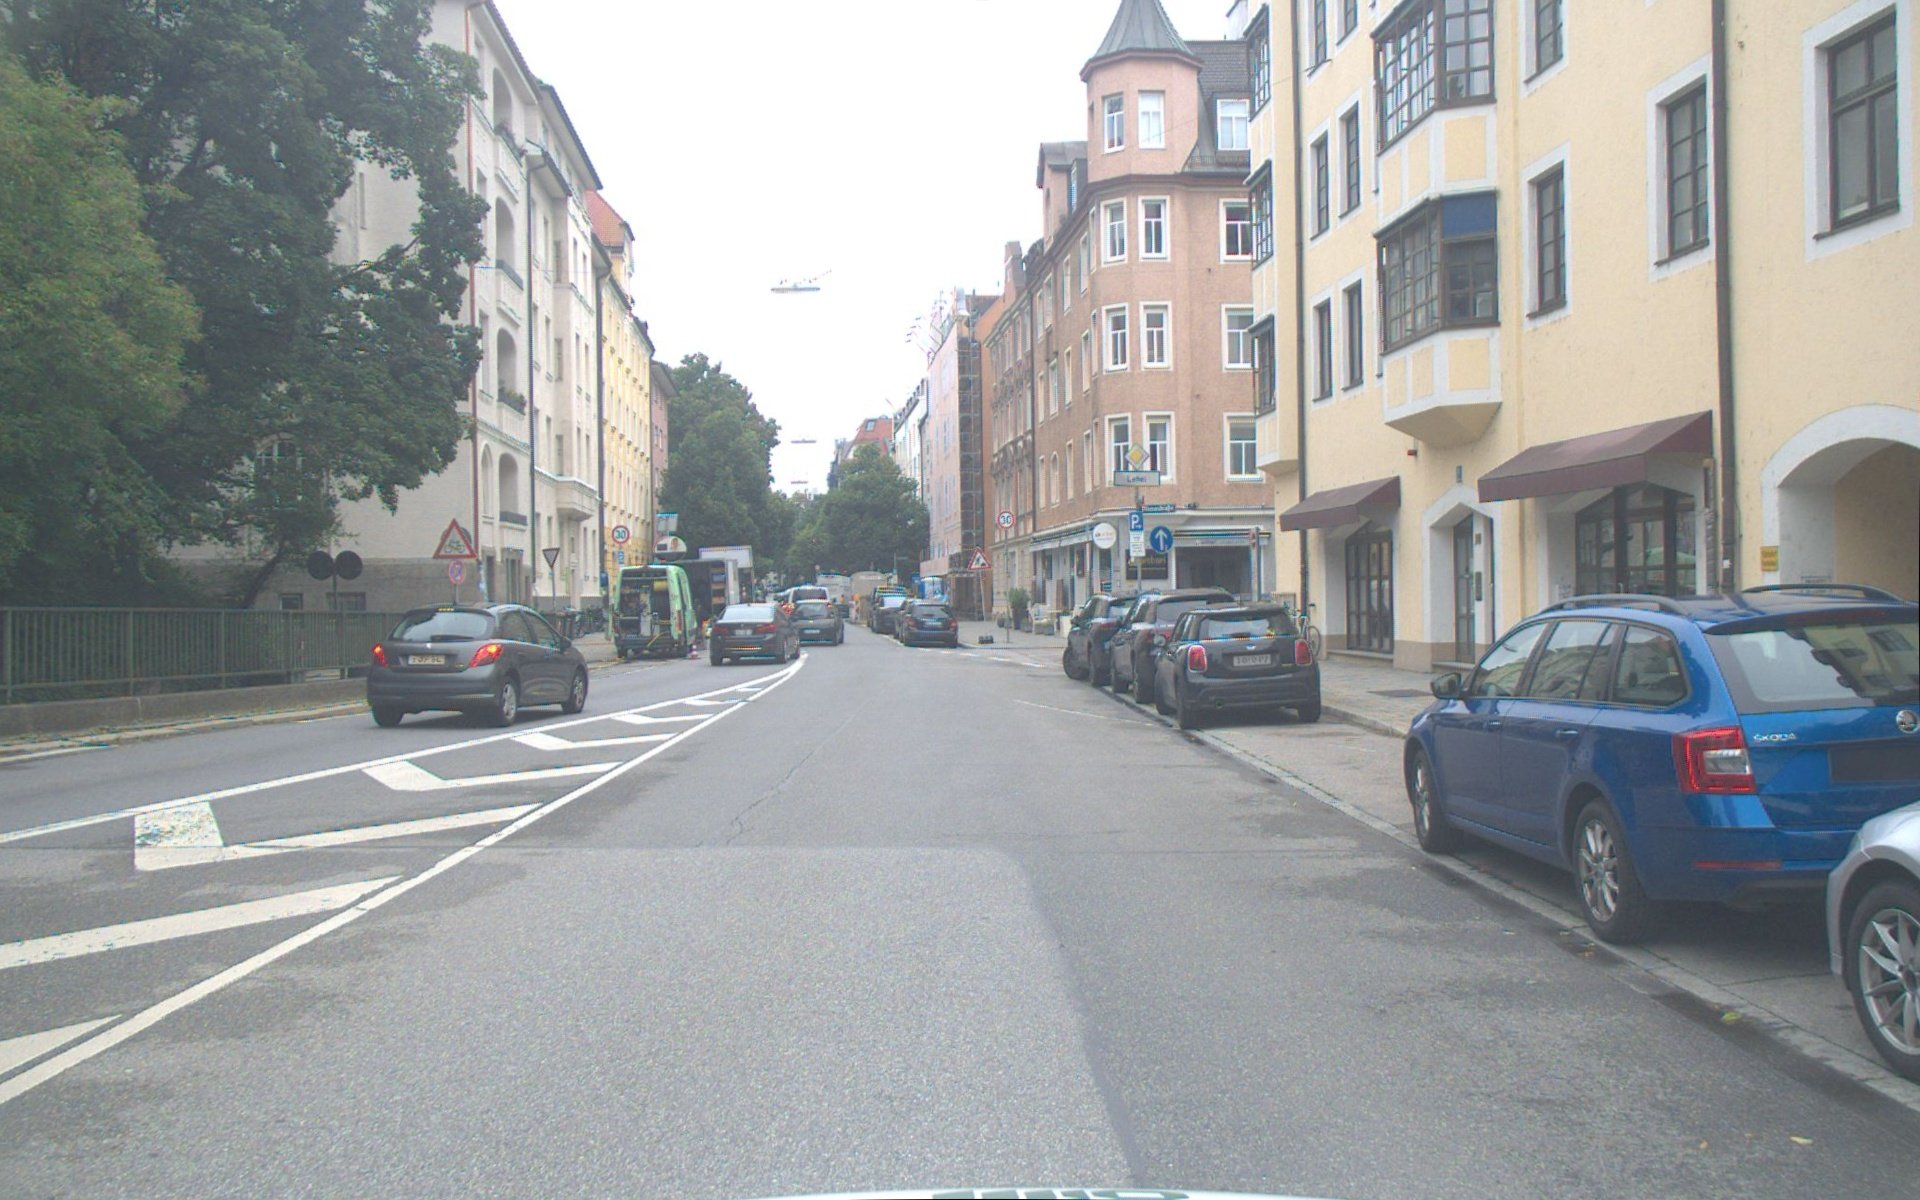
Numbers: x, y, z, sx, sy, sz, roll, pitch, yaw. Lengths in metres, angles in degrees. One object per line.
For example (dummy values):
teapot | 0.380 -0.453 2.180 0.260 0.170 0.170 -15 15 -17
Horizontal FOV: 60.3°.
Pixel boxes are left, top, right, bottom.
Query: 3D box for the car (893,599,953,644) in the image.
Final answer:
car | -1.378 0.753 60.299 1.809 1.454 4.135 2 1 -6

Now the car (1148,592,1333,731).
car | 3.448 0.698 20.953 1.720 1.522 3.823 -2 0 1

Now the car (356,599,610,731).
car | -6.005 0.761 21.331 1.721 1.486 4.077 -1 0 6

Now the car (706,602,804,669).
car | -5.072 0.835 41.482 1.950 1.454 4.904 -1 1 -2

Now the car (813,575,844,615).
car | -8.480 -0.311 107.162 1.901 2.523 4.779 0 0 -4

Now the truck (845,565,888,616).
truck | -5.826 -0.580 102.344 2.443 3.025 5.321 0 0 -6

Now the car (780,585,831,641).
car | -6.261 0.500 67.337 1.951 2.111 4.137 -1 1 -5

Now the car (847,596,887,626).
car | -4.886 0.546 86.207 1.951 1.454 4.137 -1 1 -5

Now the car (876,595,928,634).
car | -2.441 0.573 68.748 1.809 1.454 4.301 2 1 -6

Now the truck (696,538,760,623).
truck | -11.425 -0.925 81.944 2.955 4.021 6.985 0 0 -7

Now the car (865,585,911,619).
car | -3.348 0.064 76.449 1.951 1.454 4.137 -1 1 -5

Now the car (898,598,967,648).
car | -0.932 0.713 53.950 1.809 1.454 4.178 2 1 -6

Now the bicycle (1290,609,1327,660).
bicycle | 7.118 0.690 33.833 0.265 0.994 1.683 0 0 -4

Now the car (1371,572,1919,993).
car | 3.584 0.668 8.453 1.721 1.522 4.486 -2 0 -1

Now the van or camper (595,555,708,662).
van or camper | -8.944 0.172 48.543 2.549 2.889 6.180 -1 1 -5

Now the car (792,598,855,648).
car | -4.434 0.721 54.006 1.951 1.454 4.137 -1 1 -5

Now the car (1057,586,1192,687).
car | 3.037 0.635 31.447 1.783 1.708 4.507 -2 0 -4

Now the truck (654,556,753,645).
truck | -9.035 -0.058 59.020 2.718 2.923 7.198 -1 1 -3

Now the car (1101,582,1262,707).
car | 3.365 0.628 25.970 1.721 1.708 4.705 -2 0 -1

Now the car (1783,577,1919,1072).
car | 3.802 0.670 3.637 1.656 1.522 4.433 -2 0 -1

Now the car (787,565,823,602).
car | -8.915 -0.959 95.080 1.955 2.049 3.995 -1 0 -6
